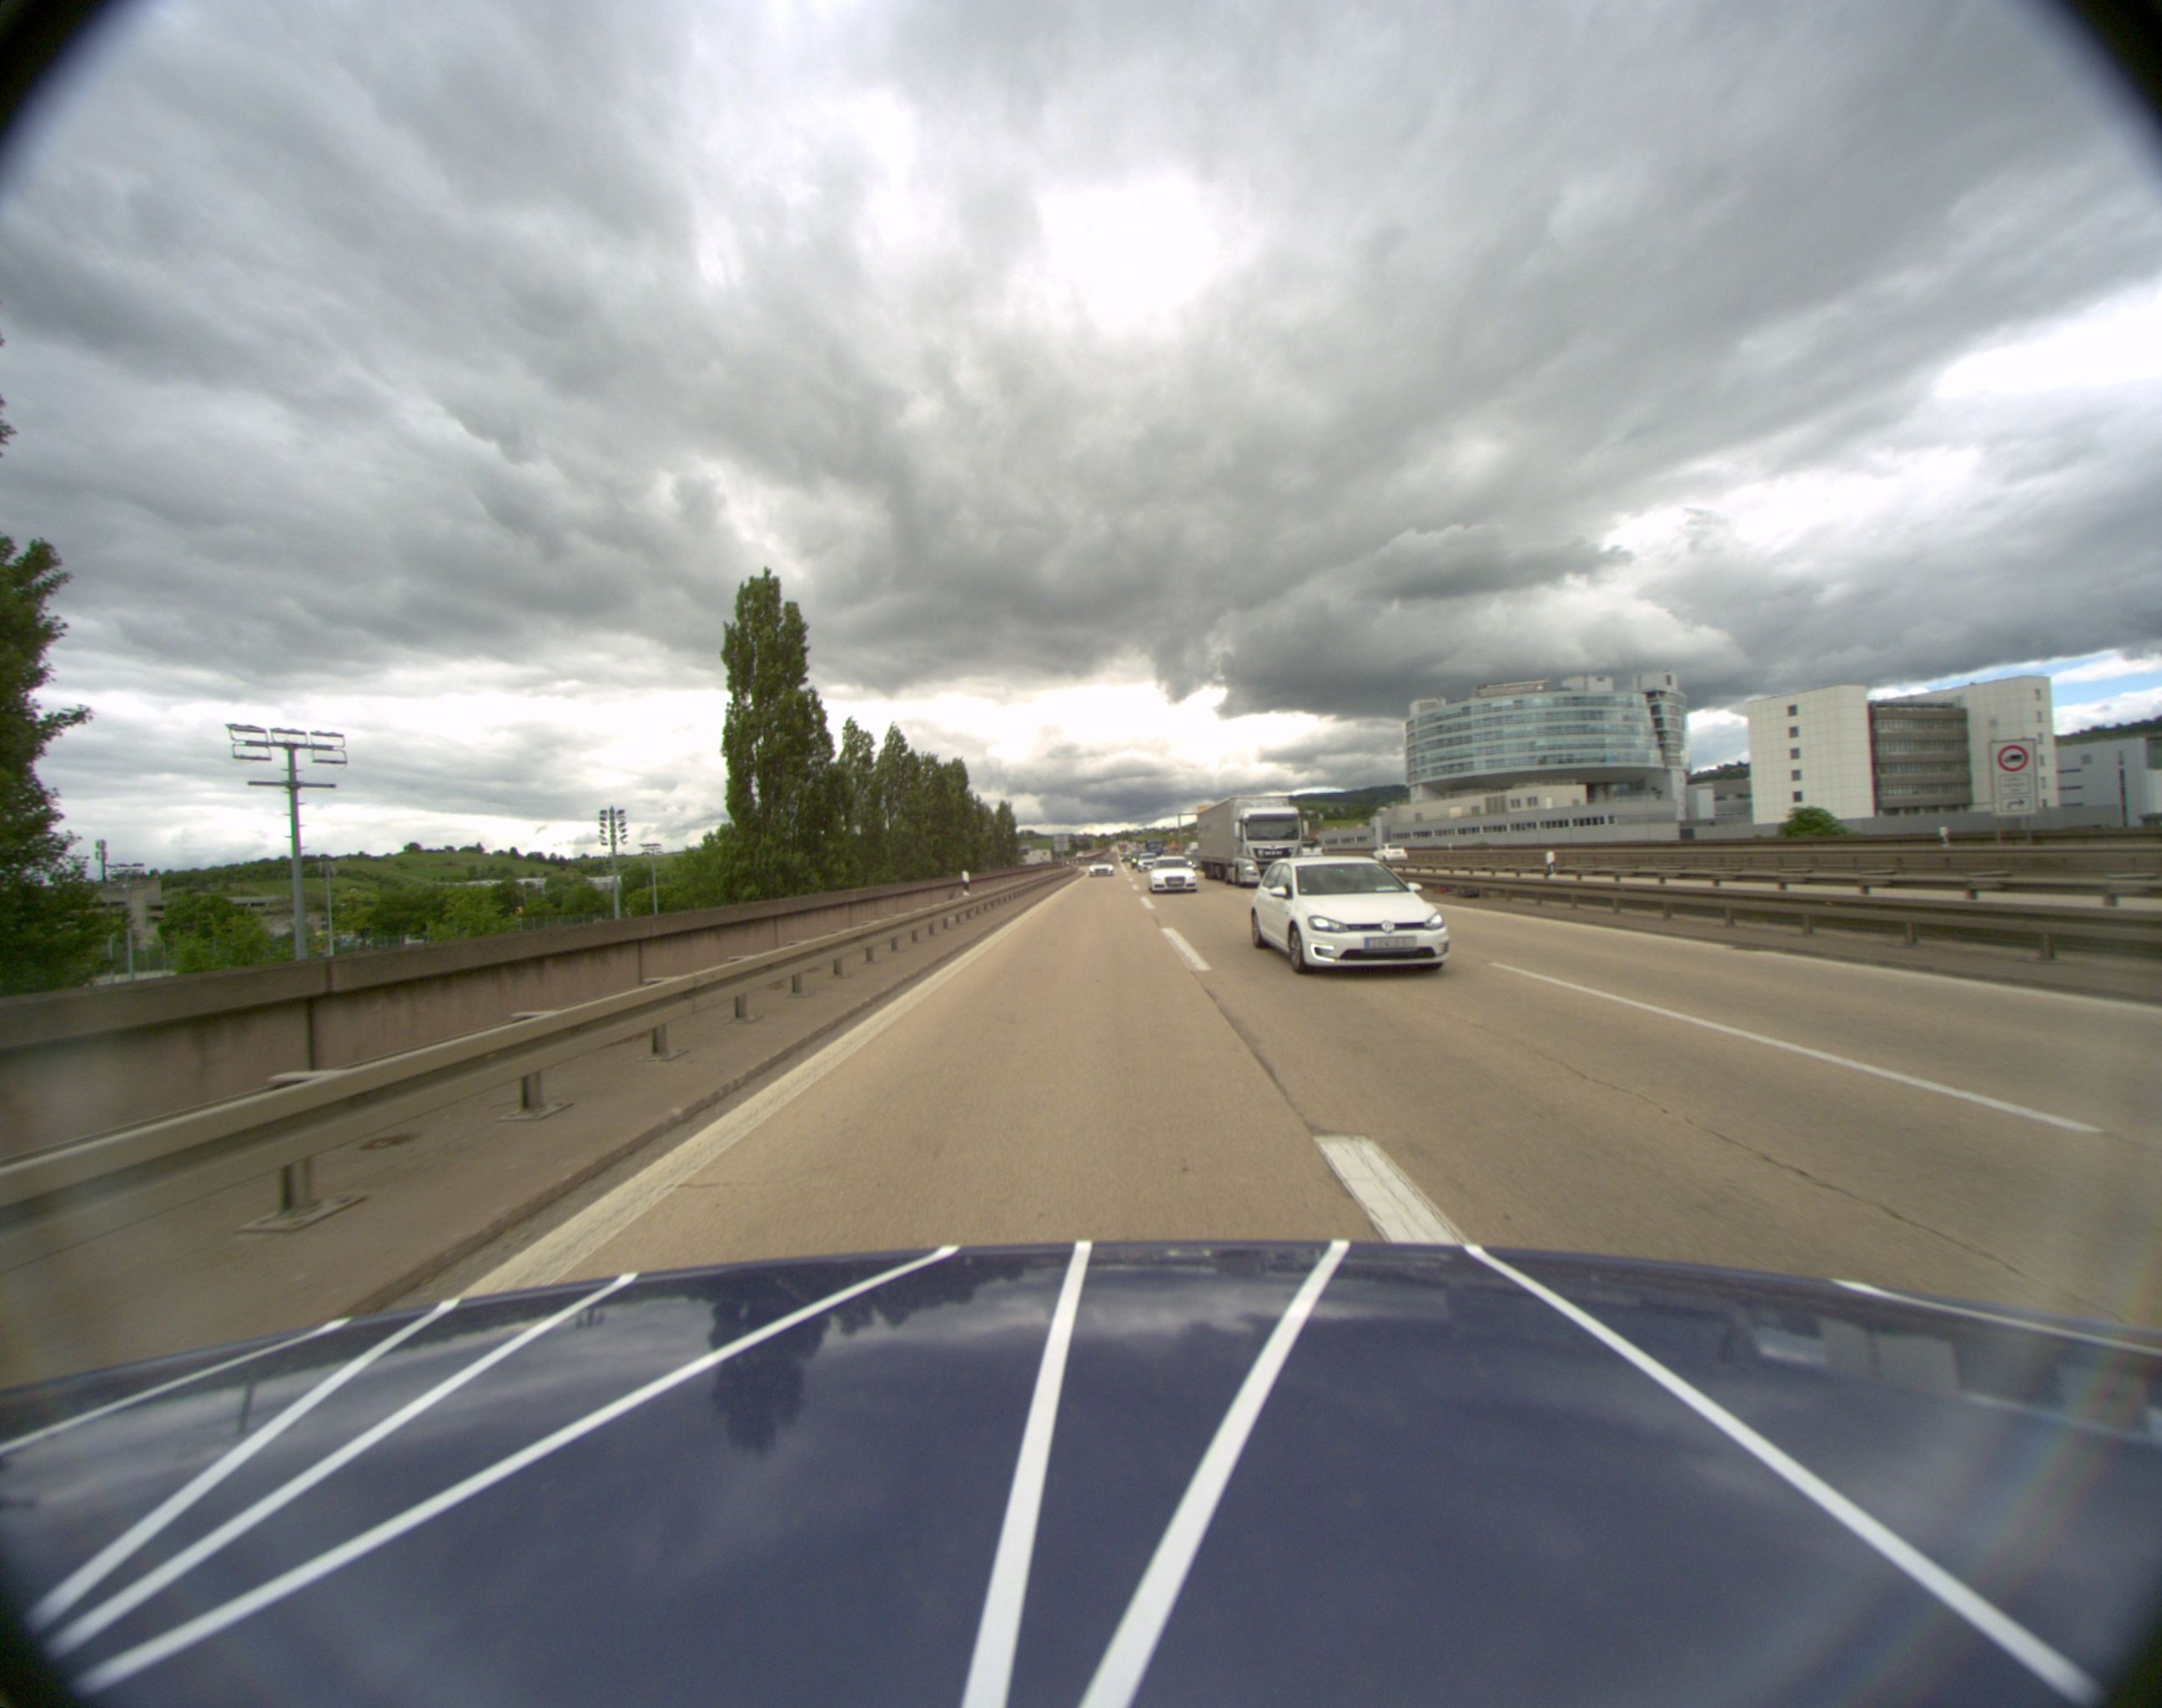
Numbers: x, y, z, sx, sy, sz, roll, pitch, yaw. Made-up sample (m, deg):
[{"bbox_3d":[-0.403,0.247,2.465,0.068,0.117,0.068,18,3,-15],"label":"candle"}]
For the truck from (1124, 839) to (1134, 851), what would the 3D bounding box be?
[{"bbox_3d":[13.735,-2.479,216.072,2.625,3.219,6.687,-2,1,3],"label":"truck"}]

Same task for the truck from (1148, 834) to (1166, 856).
[{"bbox_3d":[11.504,-1.361,115.070,2.336,3.219,6.687,-2,1,3],"label":"truck"}]

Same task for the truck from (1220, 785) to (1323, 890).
[{"bbox_3d":[8.157,-0.703,33.310,3.142,4.014,5.689,-4,1,3],"label":"truck"}]

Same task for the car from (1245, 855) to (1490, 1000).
[{"bbox_3d":[3.594,0.816,10.416,1.930,1.499,4.061,-2,1,2],"label":"car"}]

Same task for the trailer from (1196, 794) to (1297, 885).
[{"bbox_3d":[8.554,-0.732,41.002,3.189,4.003,11.766,-4,0,3],"label":"trailer"}]

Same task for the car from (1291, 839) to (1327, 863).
[{"bbox_3d":[18.112,-0.256,60.600,1.791,1.710,3.776,-3,1,2],"label":"car"}]

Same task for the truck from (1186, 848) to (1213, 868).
[{"bbox_3d":[10.034,0.323,64.476,1.829,1.521,3.514,-2,1,2],"label":"truck"}]

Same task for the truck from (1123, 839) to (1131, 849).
[{"bbox_3d":[14.567,-3.186,240.920,2.625,3.219,6.687,-2,1,3],"label":"truck"}]

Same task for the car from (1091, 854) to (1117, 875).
[{"bbox_3d":[1.831,0.783,60.190,1.930,1.499,4.061,-3,1,2],"label":"car"}]

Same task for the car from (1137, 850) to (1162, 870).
[{"bbox_3d":[6.016,0.547,67.190,1.930,1.585,4.061,-3,1,2],"label":"car"}]

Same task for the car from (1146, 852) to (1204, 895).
[{"bbox_3d":[3.739,0.722,30.771,1.930,1.499,4.061,-3,1,2],"label":"car"}]

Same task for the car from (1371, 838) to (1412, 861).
[{"bbox_3d":[23.797,-0.352,58.344,1.687,1.641,3.776,-3,1,2],"label":"car"}]

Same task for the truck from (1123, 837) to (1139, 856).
[{"bbox_3d":[8.877,-1.373,136.610,2.625,3.219,6.687,-2,1,3],"label":"truck"}]
